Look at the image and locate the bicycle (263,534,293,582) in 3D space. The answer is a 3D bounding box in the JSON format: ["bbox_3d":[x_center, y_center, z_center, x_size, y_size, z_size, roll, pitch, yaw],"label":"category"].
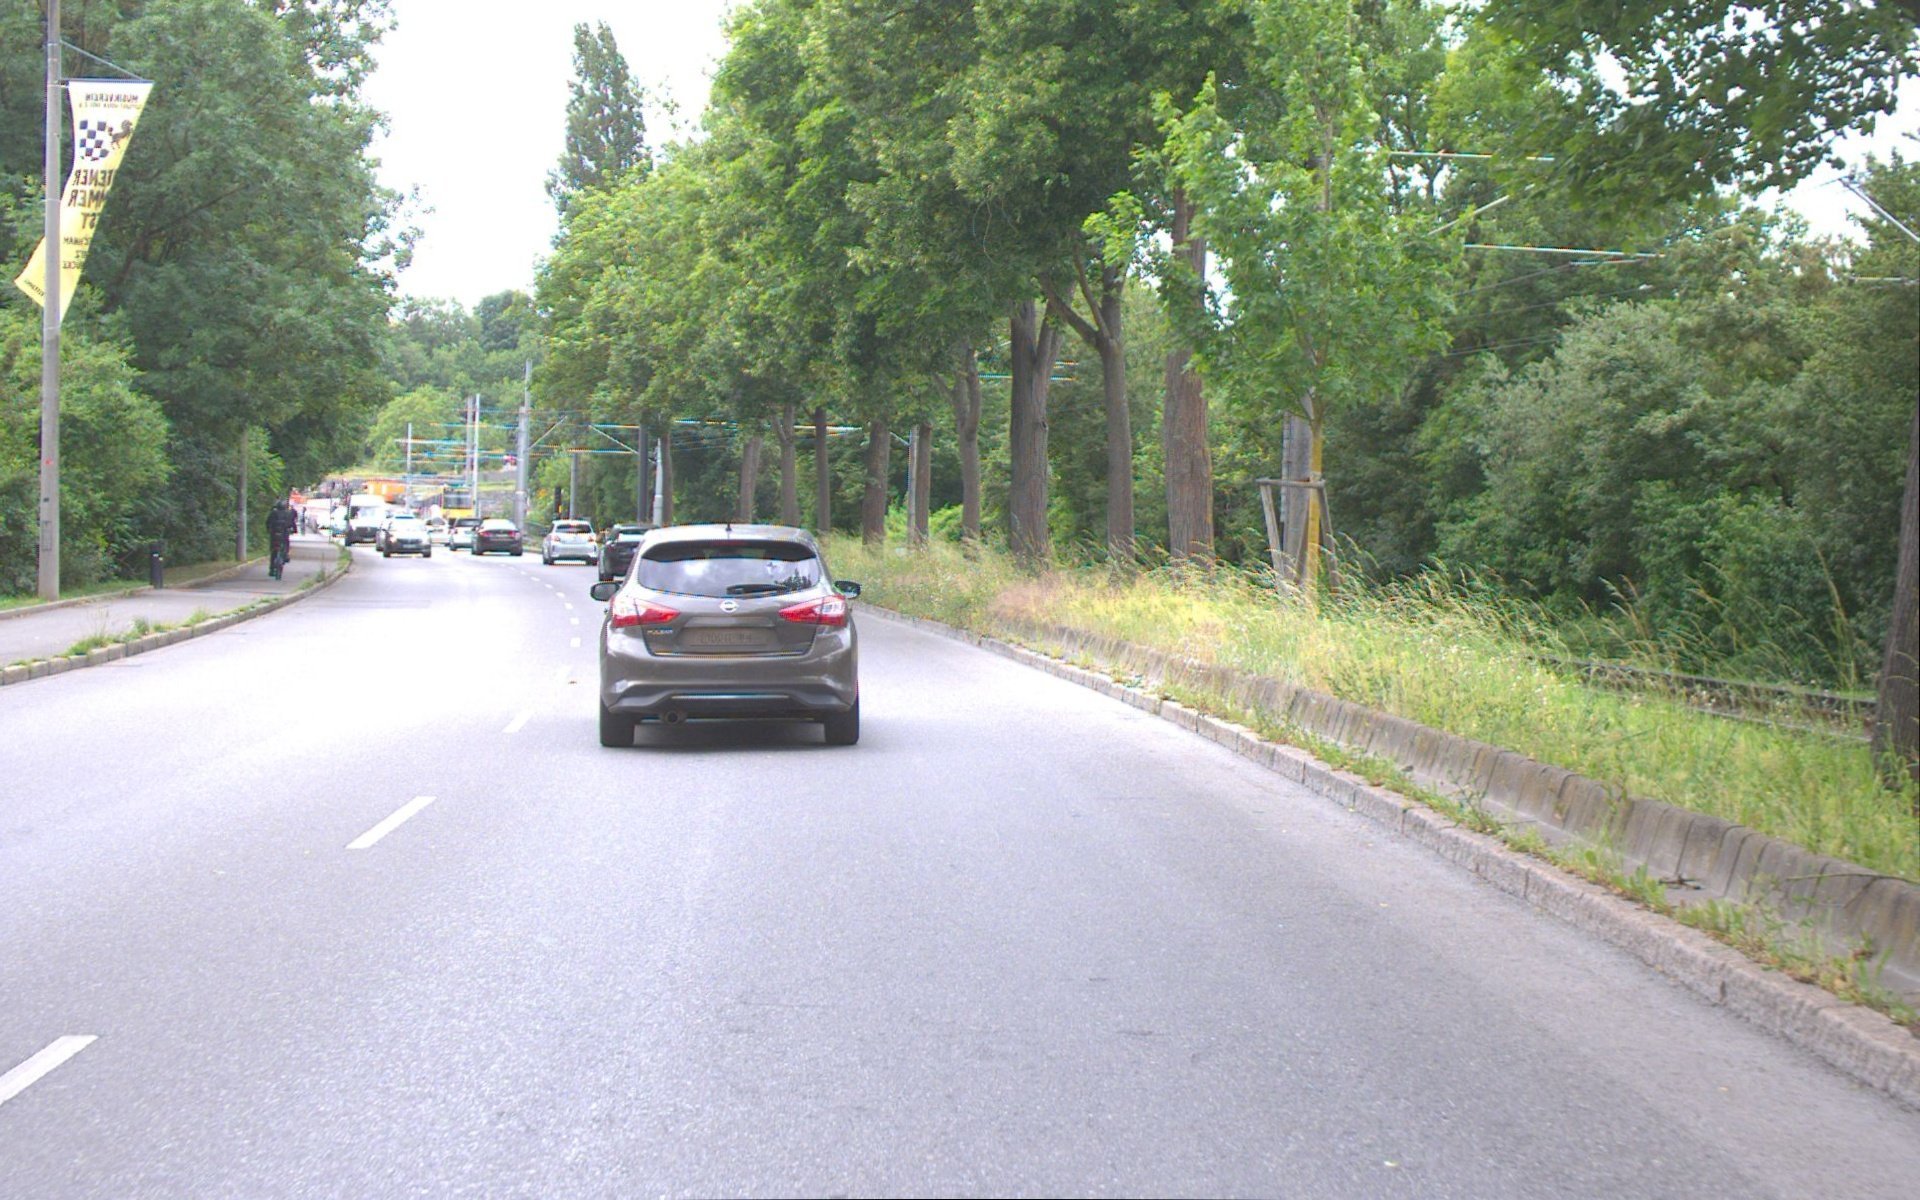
[{"bbox_3d":[-15.291,-0.949,77.079,0.488,1.027,1.124,3,2,-5],"label":"bicycle"}]

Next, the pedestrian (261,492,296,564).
[{"bbox_3d":[-15.265,-1.621,77.028,0.617,1.566,0.849,3,2,-5],"label":"pedestrian"}]

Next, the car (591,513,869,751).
[{"bbox_3d":[-1.722,0.164,24.686,1.815,1.503,4.001,0,2,-6],"label":"car"}]

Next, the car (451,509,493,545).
[{"bbox_3d":[-22.106,-3.328,155.870,1.775,1.467,4.001,2,2,-8],"label":"car"}]

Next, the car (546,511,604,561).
[{"bbox_3d":[-12.807,-2.142,114.273,1.775,1.467,4.001,3,2,-7],"label":"car"}]

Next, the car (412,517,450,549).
[{"bbox_3d":[-27.329,-3.489,177.645,1.775,1.467,4.001,3,2,-8],"label":"car"}]

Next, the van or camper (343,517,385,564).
[{"bbox_3d":[-29.990,-3.006,172.954,1.925,2.143,3.933,3,2,-11],"label":"van or camper"}]

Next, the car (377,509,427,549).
[{"bbox_3d":[-21.801,-2.770,134.320,1.748,1.459,3.921,2,1,-7],"label":"car"}]

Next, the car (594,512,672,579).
[{"bbox_3d":[-8.058,-1.368,85.037,1.775,1.467,4.001,3,2,-4],"label":"car"}]

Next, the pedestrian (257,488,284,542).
[{"bbox_3d":[-21.381,-2.637,106.618,0.695,1.616,0.684,3,2,-6],"label":"pedestrian"}]

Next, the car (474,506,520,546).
[{"bbox_3d":[-19.128,-3.070,142.009,1.775,1.467,4.001,3,2,-8],"label":"car"}]
